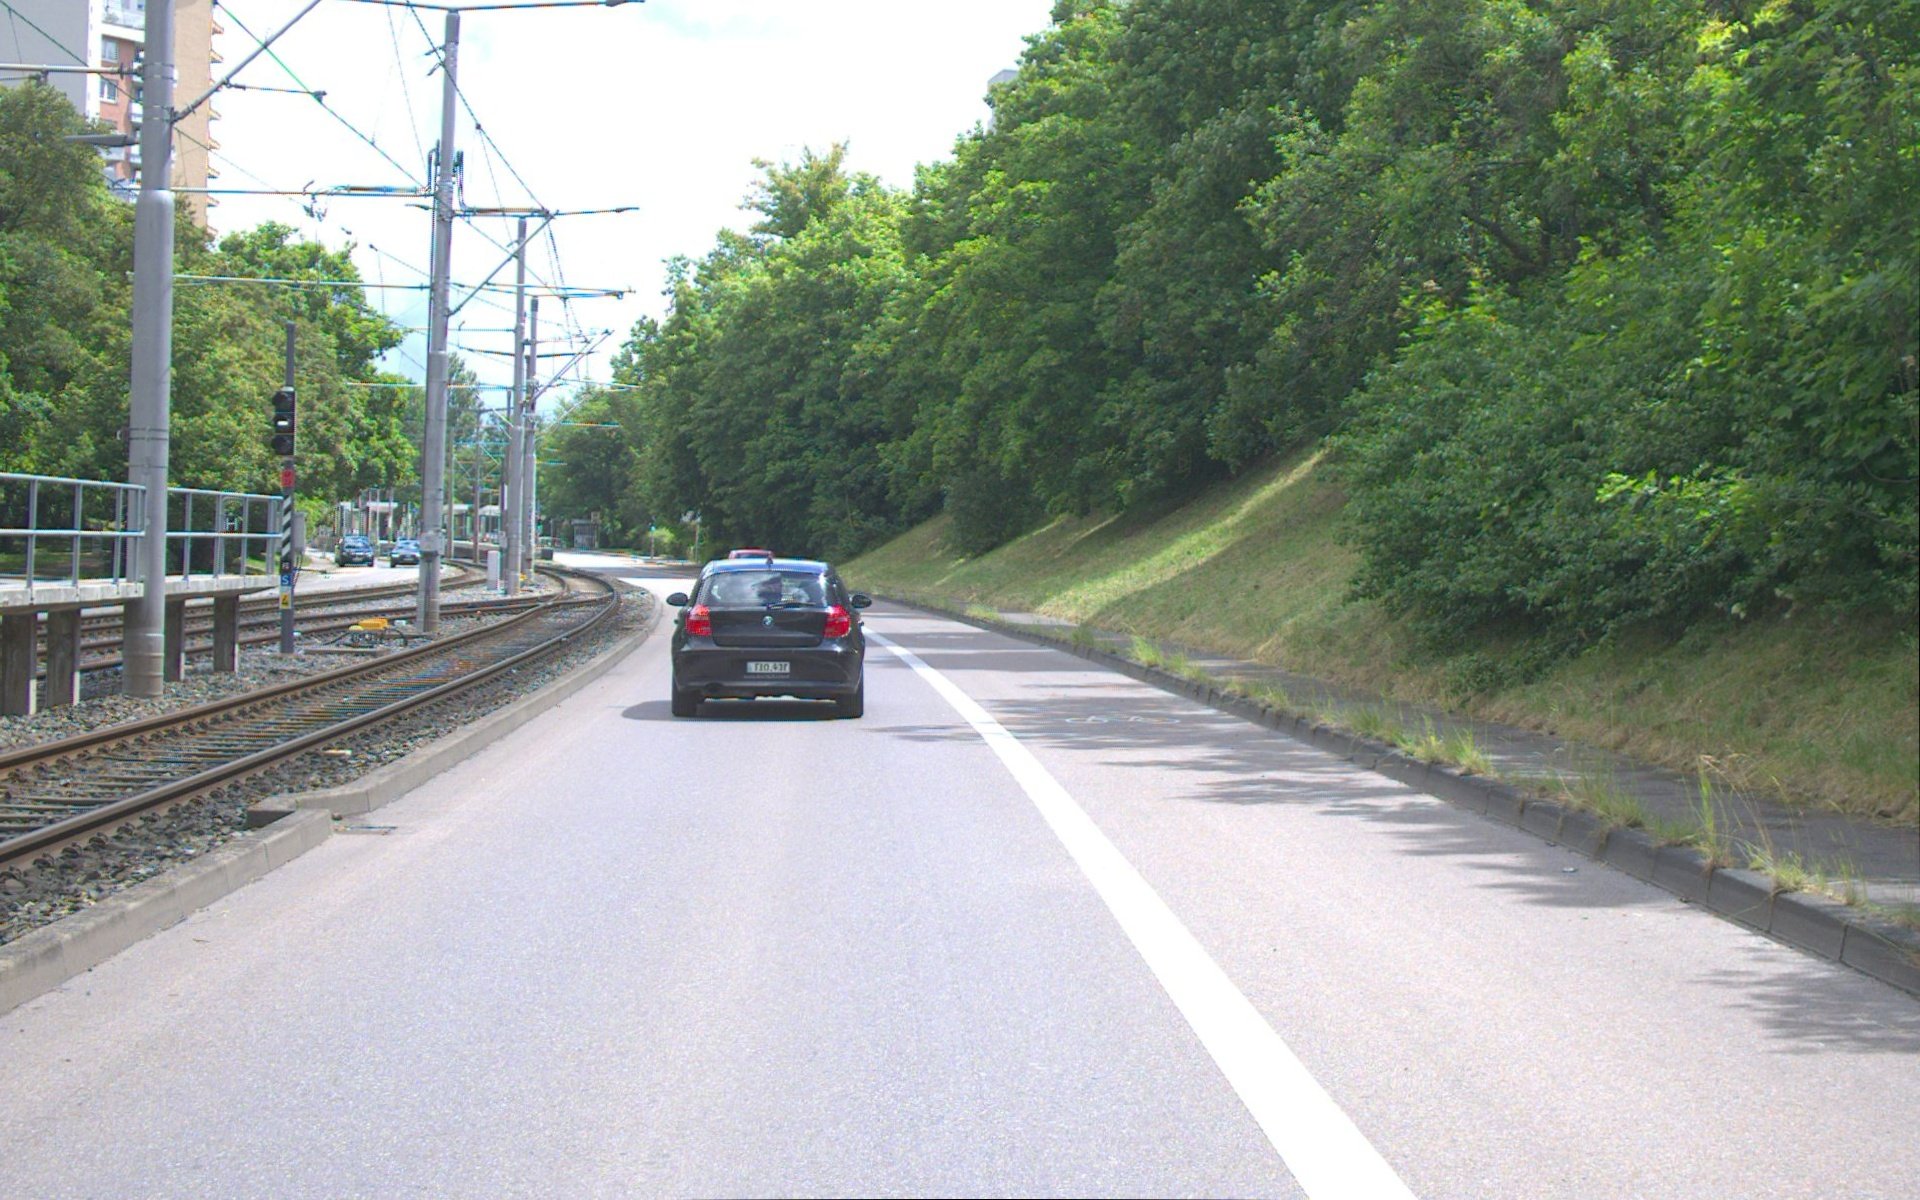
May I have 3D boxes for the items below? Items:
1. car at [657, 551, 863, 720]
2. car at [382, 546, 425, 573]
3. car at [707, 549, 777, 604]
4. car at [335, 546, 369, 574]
[{"bbox_3d":[-1.882,0.280,31.674,1.781,1.454,3.922,0,1,-5],"label":"car"},{"bbox_3d":[-29.561,-2.146,182.746,1.835,1.386,4.863,-1,1,-4],"label":"car"},{"bbox_3d":[-6.072,-0.656,95.523,1.781,1.454,3.922,1,1,-5],"label":"car"},{"bbox_3d":[-33.134,-2.193,187.256,1.774,1.493,3.998,1,1,-10],"label":"car"}]
